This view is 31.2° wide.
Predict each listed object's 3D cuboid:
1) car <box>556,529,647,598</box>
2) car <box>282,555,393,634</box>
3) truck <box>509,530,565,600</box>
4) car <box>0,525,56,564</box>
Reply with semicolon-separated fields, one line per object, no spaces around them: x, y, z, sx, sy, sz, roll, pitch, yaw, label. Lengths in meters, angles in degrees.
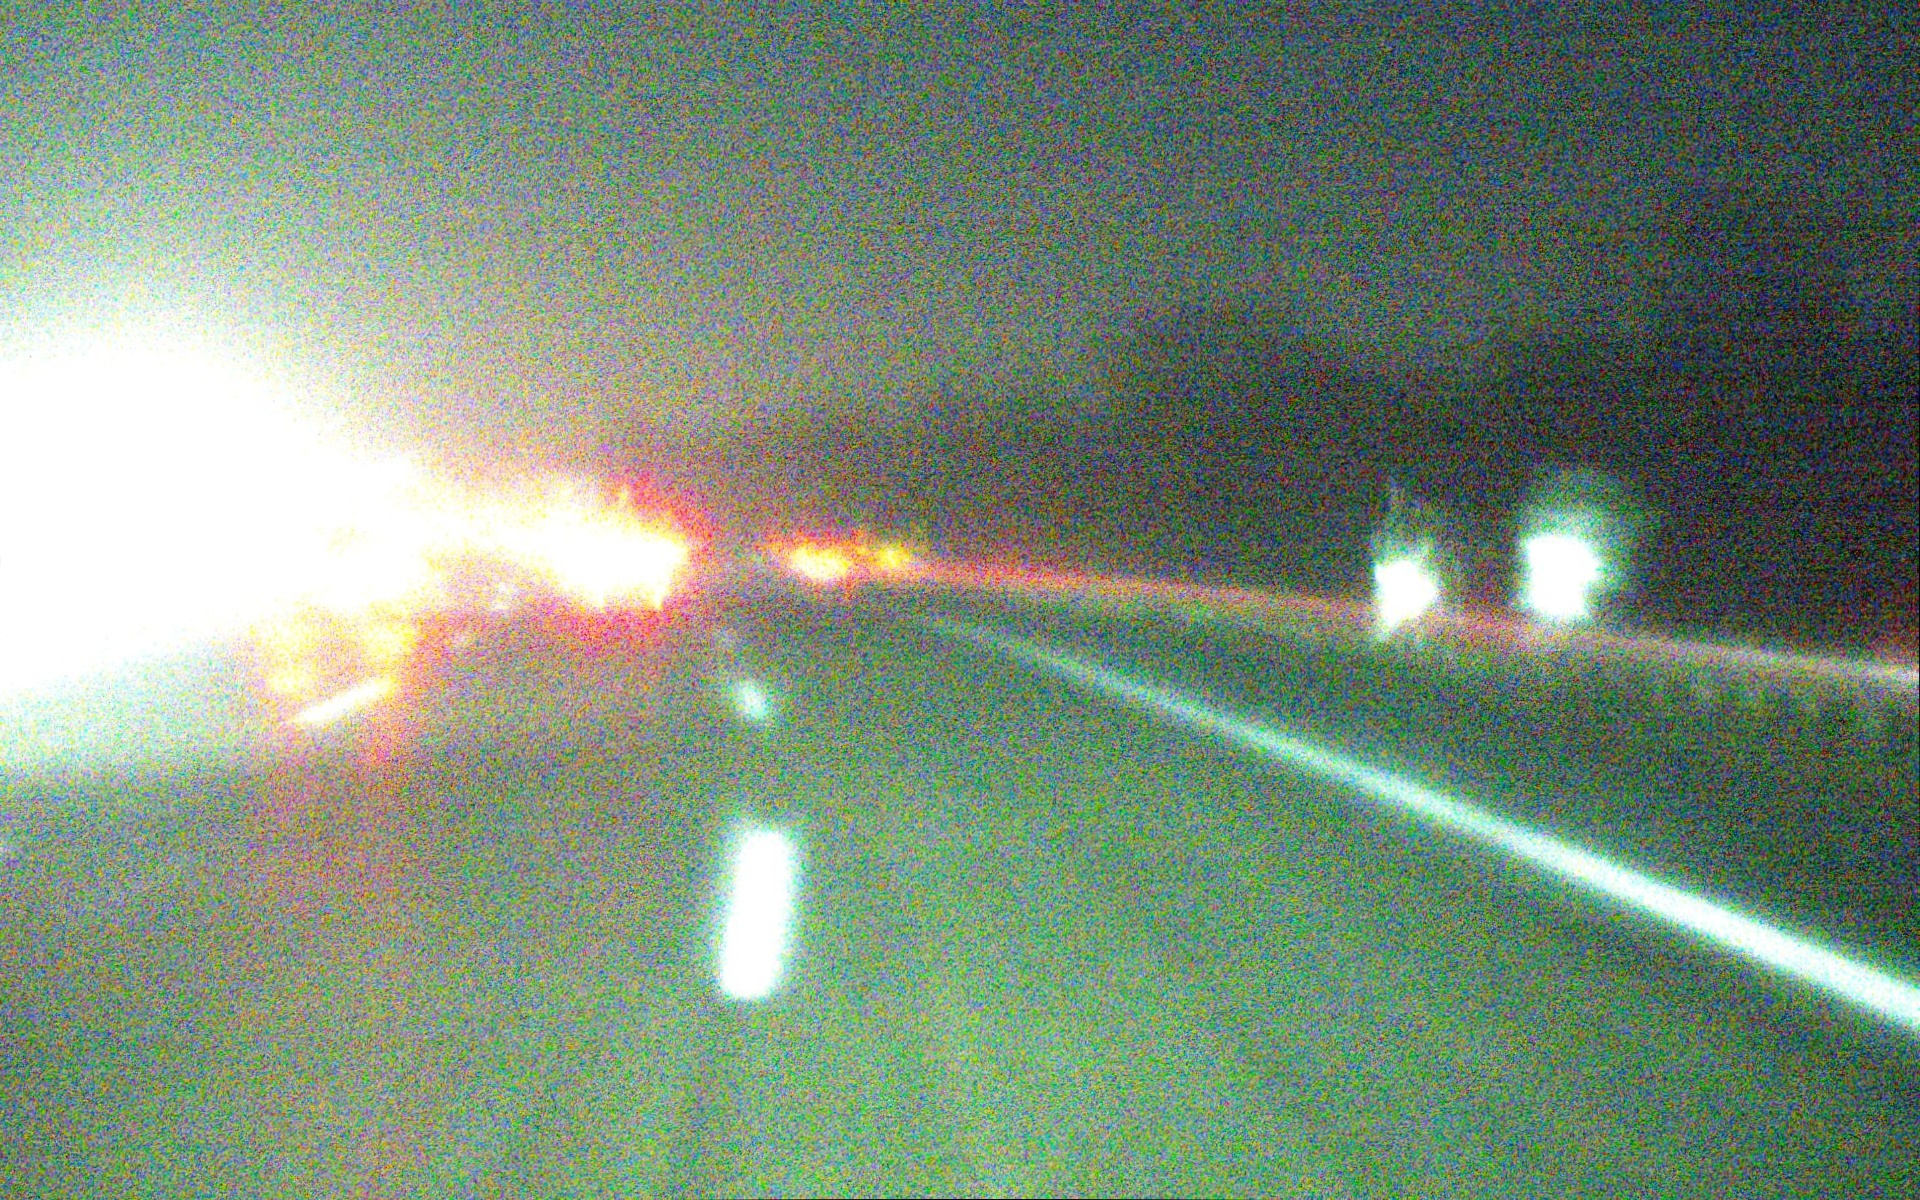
-8.022;-0.826;77.228;1.801;1.482;4.001;1;1;-3;car
-10.291;-0.080;57.026;1.662;1.232;3.762;1;0;-8;car
-19.037;-1.550;154.635;1.993;3.032;6.466;1;0;-11;truck
-31.047;-1.852;114.180;1.404;1.261;4.072;1;1;-7;car
